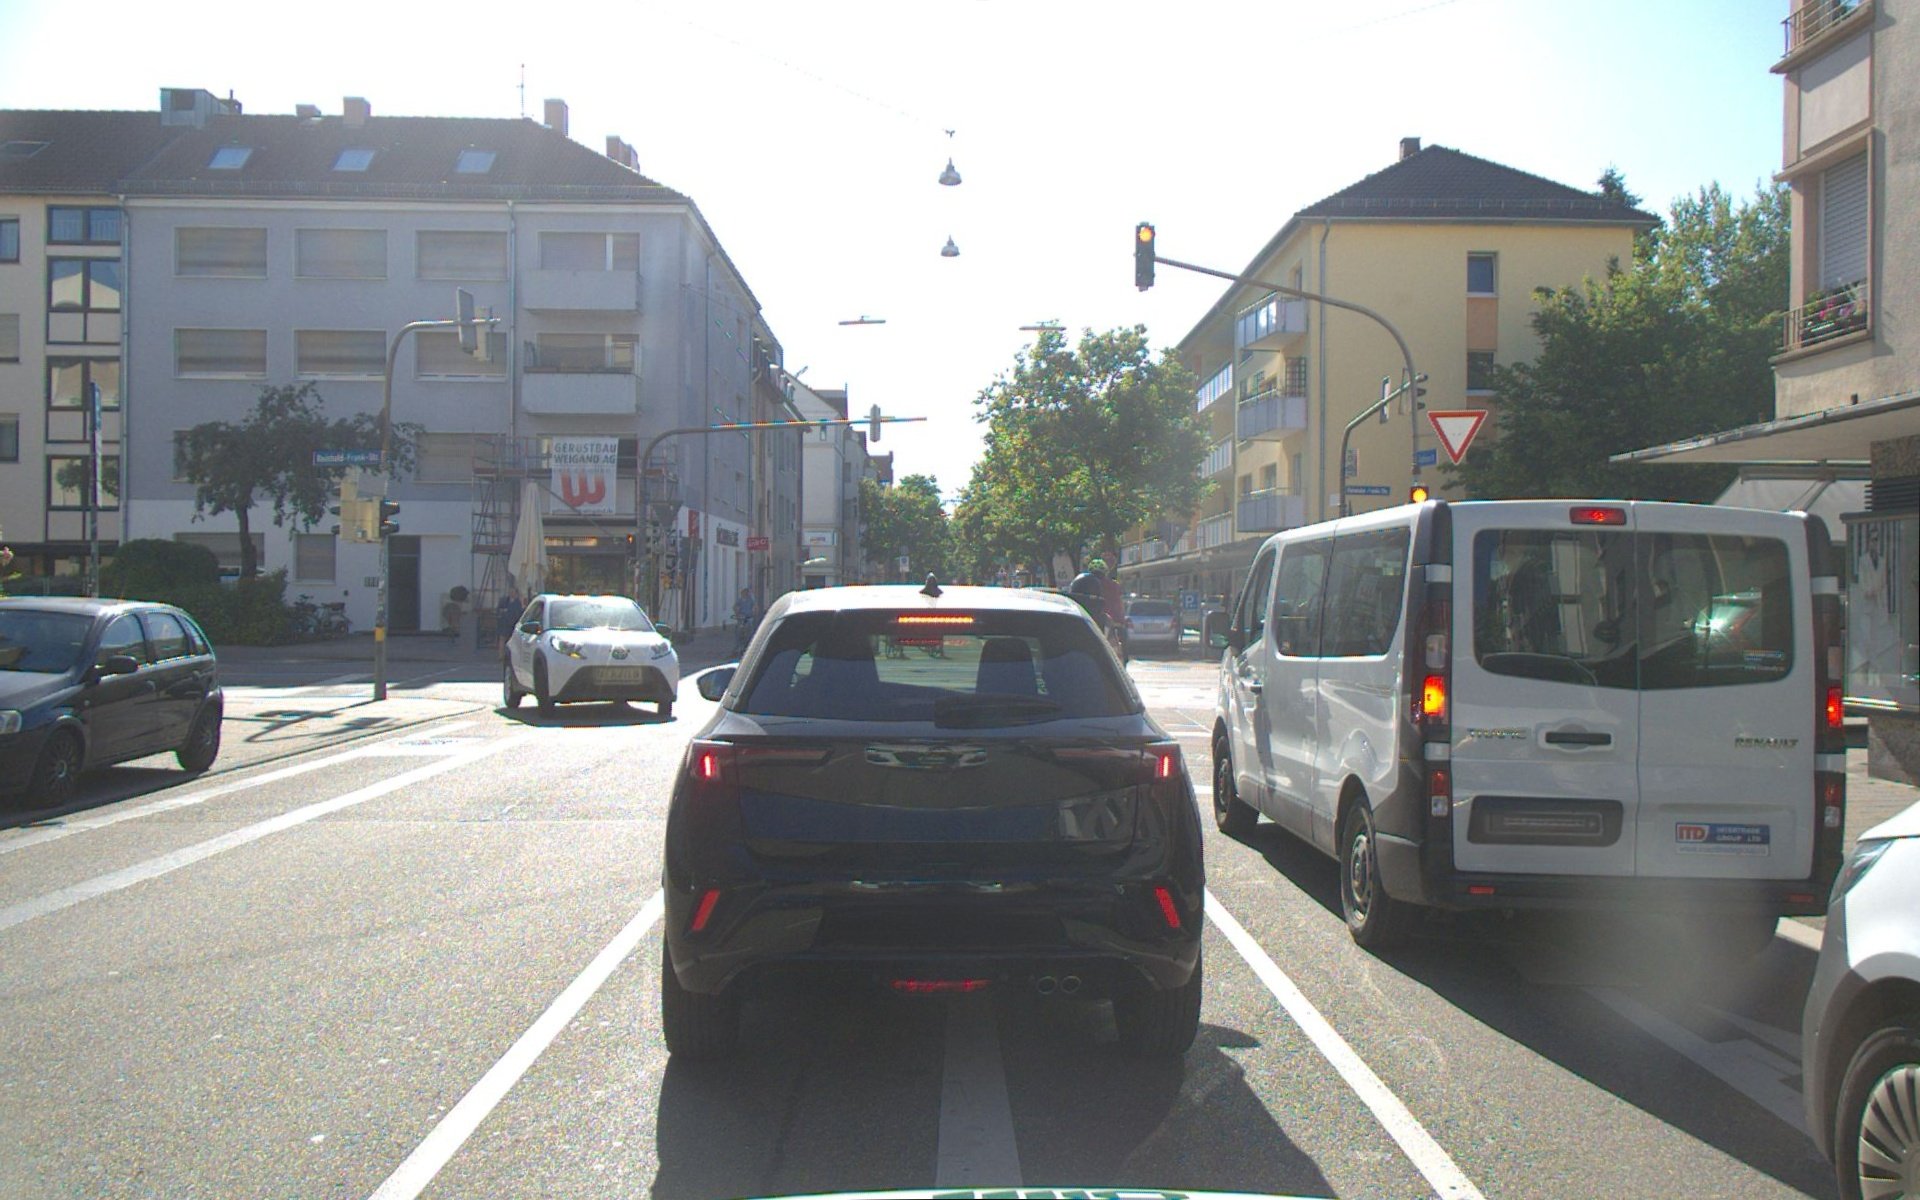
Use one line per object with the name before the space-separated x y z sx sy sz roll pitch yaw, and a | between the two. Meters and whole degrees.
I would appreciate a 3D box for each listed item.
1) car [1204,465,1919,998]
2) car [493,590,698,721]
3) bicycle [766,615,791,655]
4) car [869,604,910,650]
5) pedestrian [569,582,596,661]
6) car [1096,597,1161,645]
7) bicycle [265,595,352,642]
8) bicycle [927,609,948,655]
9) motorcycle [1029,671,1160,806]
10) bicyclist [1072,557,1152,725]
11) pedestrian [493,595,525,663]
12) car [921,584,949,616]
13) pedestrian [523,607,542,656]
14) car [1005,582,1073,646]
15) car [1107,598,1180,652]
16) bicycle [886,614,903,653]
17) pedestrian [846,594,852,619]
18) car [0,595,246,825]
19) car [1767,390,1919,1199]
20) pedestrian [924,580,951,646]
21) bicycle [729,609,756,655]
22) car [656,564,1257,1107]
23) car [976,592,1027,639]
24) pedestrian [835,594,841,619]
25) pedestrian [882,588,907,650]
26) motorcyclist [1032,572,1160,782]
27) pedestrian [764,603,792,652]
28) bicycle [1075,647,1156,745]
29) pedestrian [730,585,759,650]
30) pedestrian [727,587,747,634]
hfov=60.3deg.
car | 2.725 0.505 8.875 1.953 2.014 4.894 2 0 -1
car | -4.887 0.651 21.836 1.745 1.563 3.752 0 0 -27
bicycle | -4.851 0.927 44.245 0.511 1.010 2.338 0 0 -3
car | -3.233 1.234 76.614 1.811 2.049 3.999 0 0 -1
pedestrian | -8.777 0.492 38.428 0.550 1.806 0.582 1 0 -9
car | 5.301 0.638 52.442 1.601 1.458 3.999 0 0 -1
bicycle | -16.890 0.476 42.867 2.067 1.193 0.735 0 0 -25
bicycle | -0.606 0.841 44.097 0.511 1.167 2.169 0 0 -3
motorcycle | 0.988 1.019 12.623 0.808 0.860 1.884 0 0 -1
bicyclist | 1.634 0.427 17.933 0.675 1.742 1.413 0 0 -3
pedestrian | -10.290 0.653 37.724 0.573 1.547 0.649 0 0 -4
car | -1.626 0.005 109.616 1.817 2.049 3.880 0 0 -1
pedestrian | -9.763 0.720 37.788 0.348 1.111 0.461 0 0 -4
car | 2.250 0.380 48.014 1.863 1.758 4.074 0 0 1
car | 5.252 0.689 47.681 1.601 1.458 3.956 0 0 -1
bicycle | -1.757 0.882 44.369 0.434 1.010 2.068 0 0 -3
pedestrian | -7.503 0.441 111.882 0.394 1.704 0.417 0 0 -1
car | -7.102 0.722 12.760 1.584 1.450 3.709 3 0 -1
car | 2.982 0.520 1.626 1.799 1.901 4.994 0 0 -2
pedestrian | -0.594 0.335 43.947 0.692 1.731 0.802 0 0 -3
bicycle | -5.801 0.848 44.242 0.511 1.167 2.282 0 0 -3
car | -0.089 0.670 6.786 1.735 1.557 3.998 0 0 -3
car | 1.594 0.580 64.295 1.863 1.758 4.000 0 0 0
pedestrian | -8.258 0.427 112.228 0.394 1.704 0.417 0 0 -1
pedestrian | -1.753 0.500 44.114 0.666 1.634 0.762 0 0 -3
motorcyclist | 1.020 0.564 12.689 0.846 1.528 1.159 0 0 -2
pedestrian | -4.837 0.716 43.940 0.692 1.275 0.802 0 0 -3
bicycle | 1.667 1.010 17.982 0.565 0.920 2.300 0 0 -3
pedestrian | -5.719 0.464 43.978 0.692 1.707 0.802 0 0 -3
pedestrian | -7.396 0.343 54.954 0.605 1.547 0.724 0 0 -4
